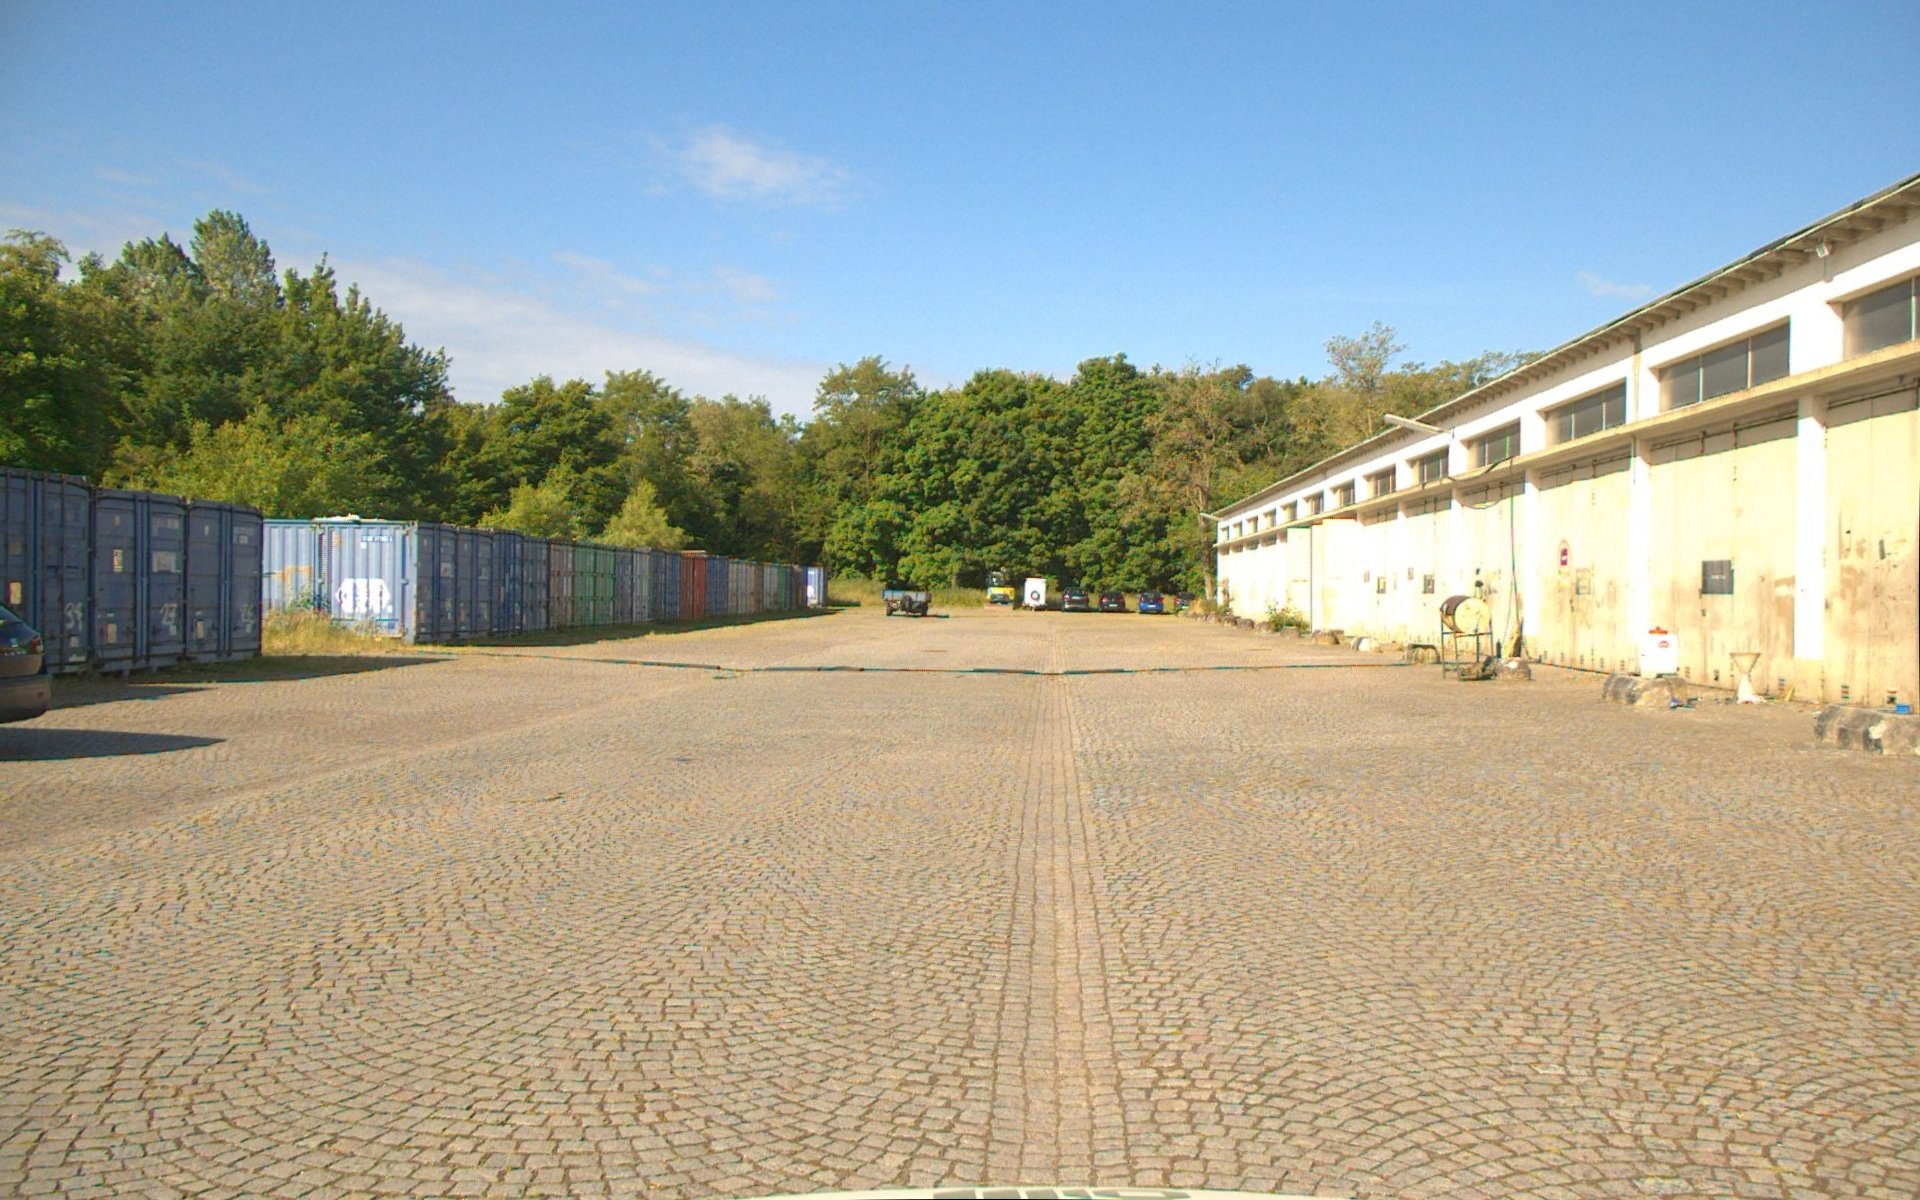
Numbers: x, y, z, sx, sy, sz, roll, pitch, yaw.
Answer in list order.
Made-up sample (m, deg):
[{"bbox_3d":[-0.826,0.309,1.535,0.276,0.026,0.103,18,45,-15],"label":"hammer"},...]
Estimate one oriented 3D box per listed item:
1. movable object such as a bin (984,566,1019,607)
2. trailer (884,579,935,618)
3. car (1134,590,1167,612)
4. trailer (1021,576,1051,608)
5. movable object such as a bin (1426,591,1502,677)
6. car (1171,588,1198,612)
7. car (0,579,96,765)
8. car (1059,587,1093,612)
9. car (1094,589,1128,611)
[{"bbox_3d":[2.856,-0.935,112.587,1.951,2.663,4.003,2,1,7],"label":"movable object such as a bin"},{"bbox_3d":[-2.830,-0.084,93.435,2.356,2.048,4.176,2,0,5],"label":"trailer"},{"bbox_3d":[12.697,0.040,110.298,1.951,1.445,4.004,0,0,10],"label":"car"},{"bbox_3d":[5.184,-0.516,112.191,1.755,2.126,3.974,0,0,7],"label":"trailer"},{"bbox_3d":[8.152,0.537,26.782,0.807,1.355,1.280,0,0,-2],"label":"movable object such as a bin"},{"bbox_3d":[15.182,-0.020,111.527,1.649,1.591,4.004,0,0,10],"label":"car"},{"bbox_3d":[-9.407,0.511,13.285,3.968,1.437,1.731,1,0,-3],"label":"car"},{"bbox_3d":[7.757,-0.064,110.358,1.821,1.613,4.004,0,0,10],"label":"car"},{"bbox_3d":[10.122,-0.009,110.430,1.951,1.488,4.004,0,0,10],"label":"car"}]
